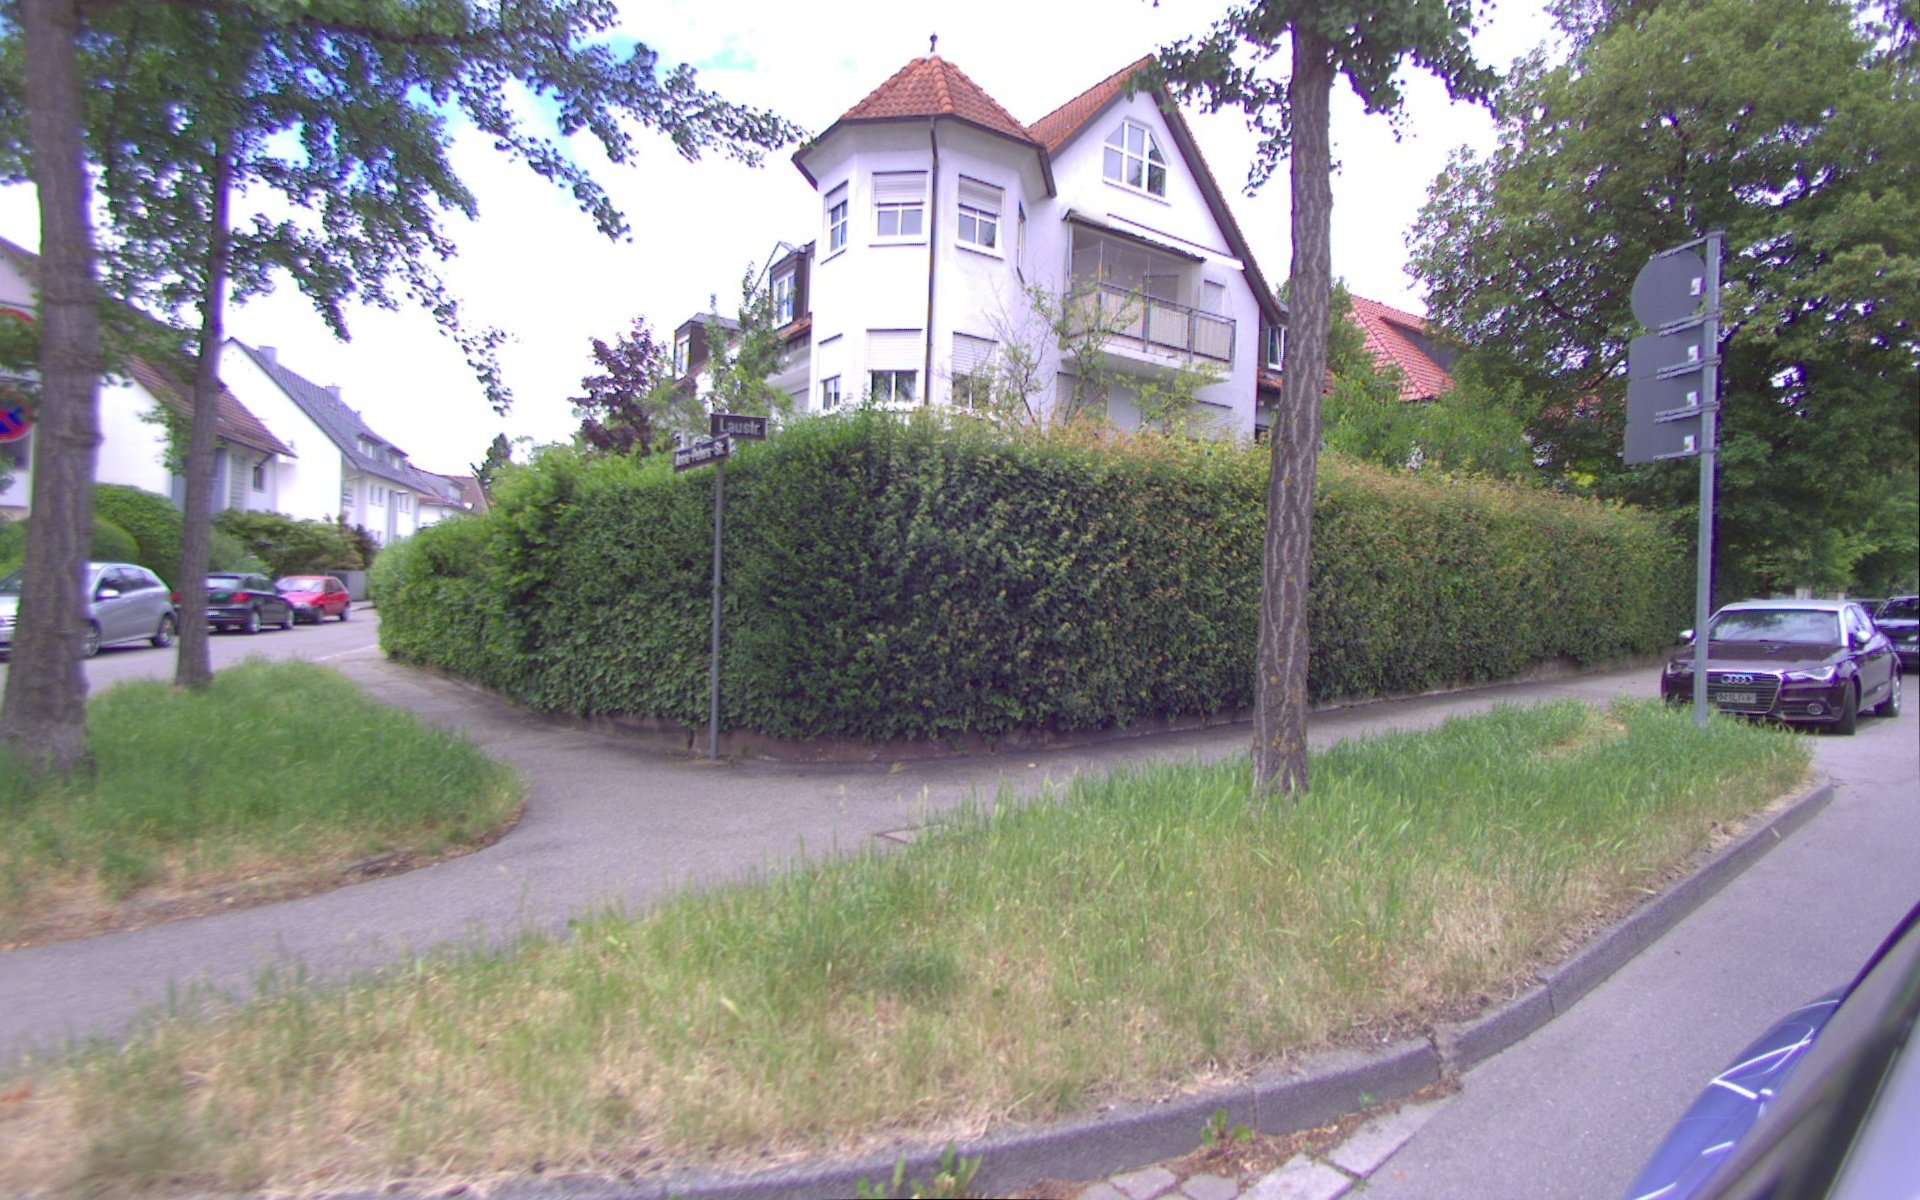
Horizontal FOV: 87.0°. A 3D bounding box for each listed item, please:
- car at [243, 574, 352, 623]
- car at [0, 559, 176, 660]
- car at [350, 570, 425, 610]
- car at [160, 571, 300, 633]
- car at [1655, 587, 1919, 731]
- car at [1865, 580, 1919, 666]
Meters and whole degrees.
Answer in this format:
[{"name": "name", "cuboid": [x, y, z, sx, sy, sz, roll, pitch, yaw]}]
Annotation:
[{"name": "car", "cuboid": [-19.376, -0.067, 29.771, 1.676, 1.329, 3.874, 1, 1, -18]}, {"name": "car", "cuboid": [-15.642, 0.124, 17.717, 1.727, 1.574, 3.978, -2, 1, -17]}, {"name": "car", "cuboid": [-23.122, -0.423, 41.027, 1.830, 1.482, 4.471, -2, 1, -19]}, {"name": "car", "cuboid": [-17.778, 0.025, 24.849, 1.703, 1.387, 4.013, 1, 1, -19]}, {"name": "car", "cuboid": [9.798, 0.573, 11.889, 3.722, 1.430, 1.713, -1, 0, -39]}, {"name": "car", "cuboid": [18.349, 0.390, 18.786, 3.721, 1.506, 1.714, -1, 1, -38]}]
